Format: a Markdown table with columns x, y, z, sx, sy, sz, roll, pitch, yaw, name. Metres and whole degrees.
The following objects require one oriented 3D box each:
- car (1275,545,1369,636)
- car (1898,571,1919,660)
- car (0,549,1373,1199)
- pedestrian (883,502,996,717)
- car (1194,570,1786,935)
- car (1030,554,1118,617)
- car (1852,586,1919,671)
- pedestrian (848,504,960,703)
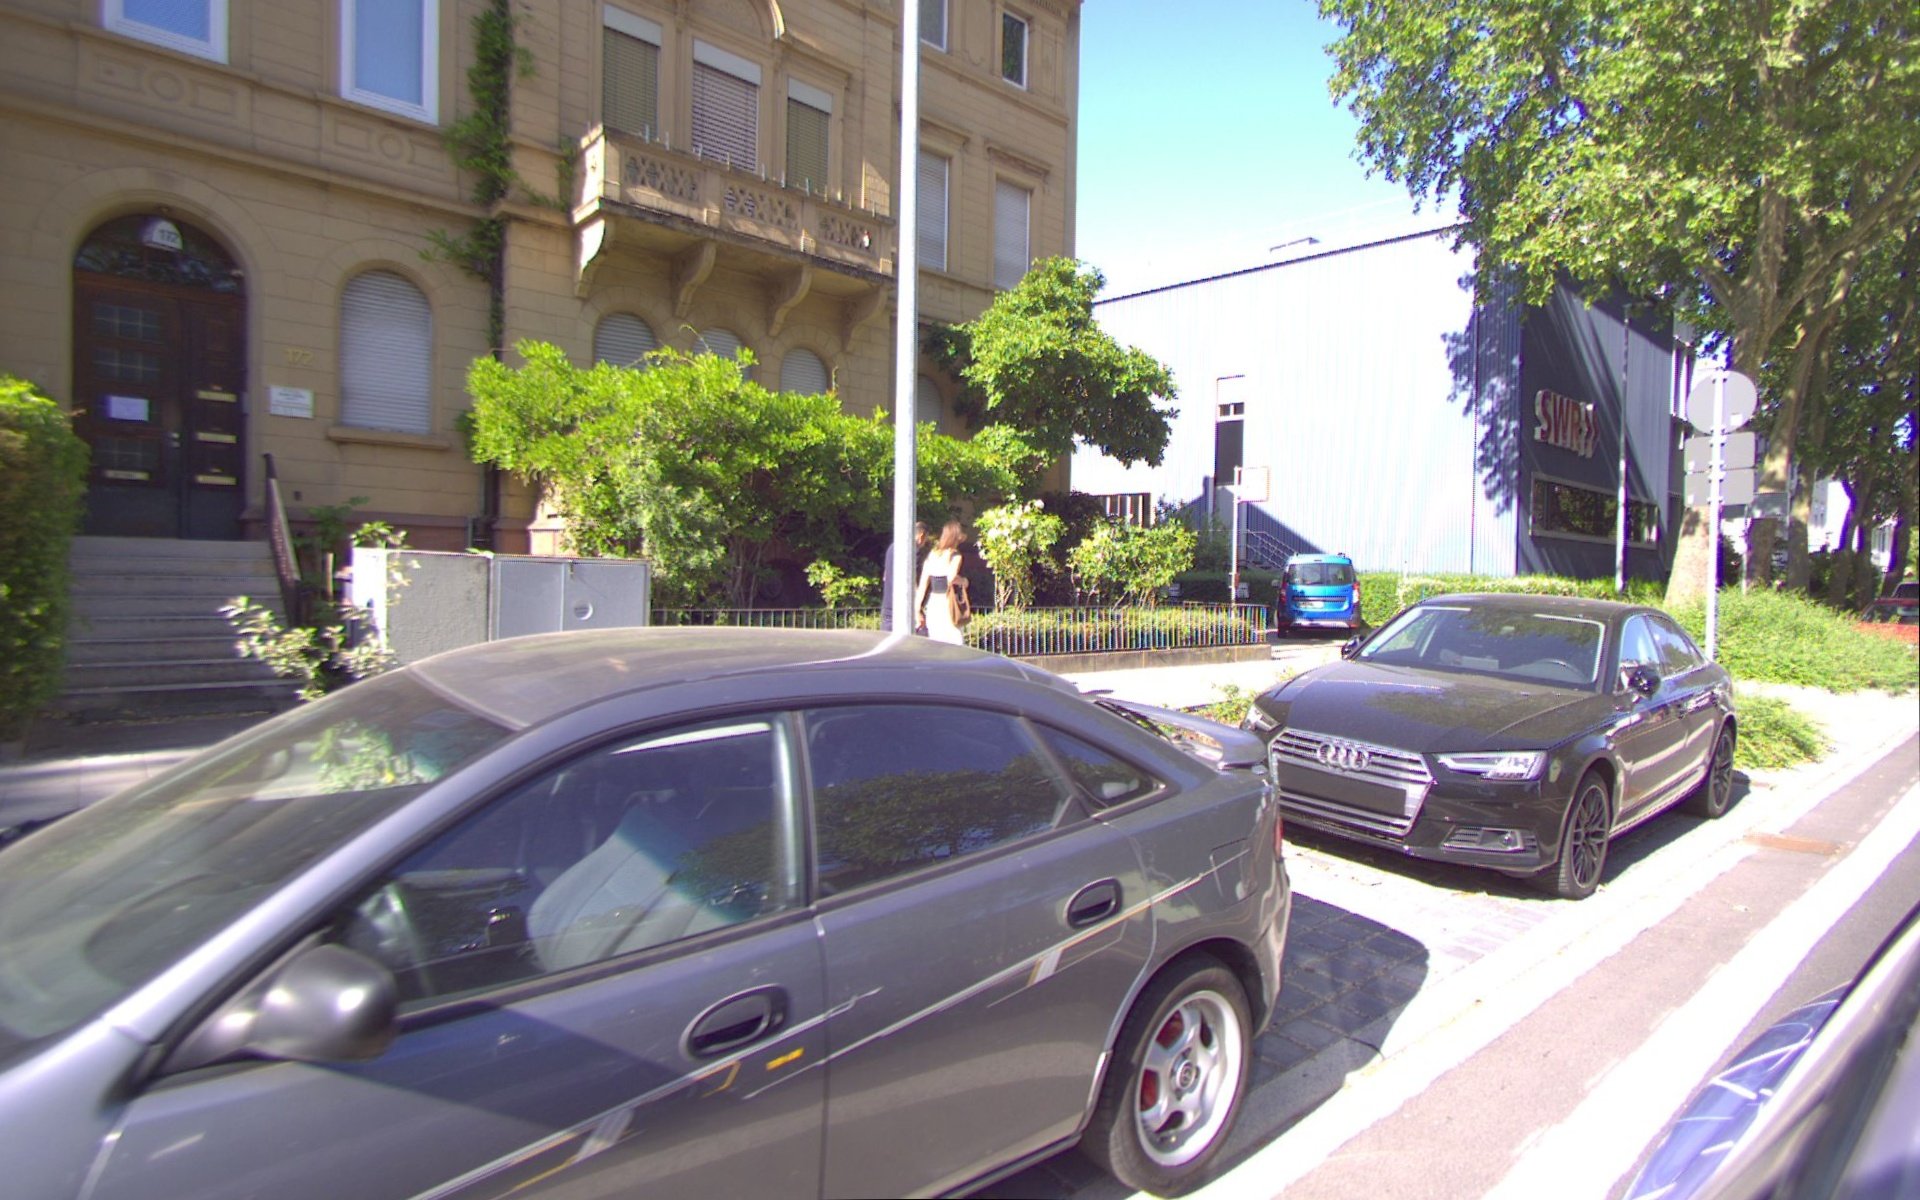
| x | y | z | sx | sy | sz | roll | pitch | yaw | name |
| --- | --- | --- | --- | --- | --- | --- | --- | --- | --- |
| 8.118 | -0.268 | 22.743 | 1.777 | 1.844 | 3.975 | 2 | 2 | 20 | car |
| 23.526 | 0.350 | 23.713 | 4.428 | 1.990 | 1.752 | 0 | 2 | -41 | car |
| -0.878 | 0.644 | 2.307 | 3.978 | 1.430 | 1.720 | 0 | 3 | -41 | car |
| -0.188 | 0.068 | 9.079 | 0.702 | 1.818 | 0.698 | 0 | 2 | -41 | pedestrian |
| 3.530 | 0.612 | 6.316 | 4.398 | 1.429 | 1.720 | 0 | 5 | -41 | car |
| 3.284 | -0.441 | 28.532 | 1.776 | 1.658 | 3.979 | 0 | 2 | 17 | car |
| 18.980 | 0.520 | 19.862 | 3.928 | 1.536 | 1.673 | 0 | 2 | -41 | car |
| -0.542 | 0.019 | 9.739 | 0.788 | 1.818 | 0.698 | 0 | 2 | -41 | pedestrian |
